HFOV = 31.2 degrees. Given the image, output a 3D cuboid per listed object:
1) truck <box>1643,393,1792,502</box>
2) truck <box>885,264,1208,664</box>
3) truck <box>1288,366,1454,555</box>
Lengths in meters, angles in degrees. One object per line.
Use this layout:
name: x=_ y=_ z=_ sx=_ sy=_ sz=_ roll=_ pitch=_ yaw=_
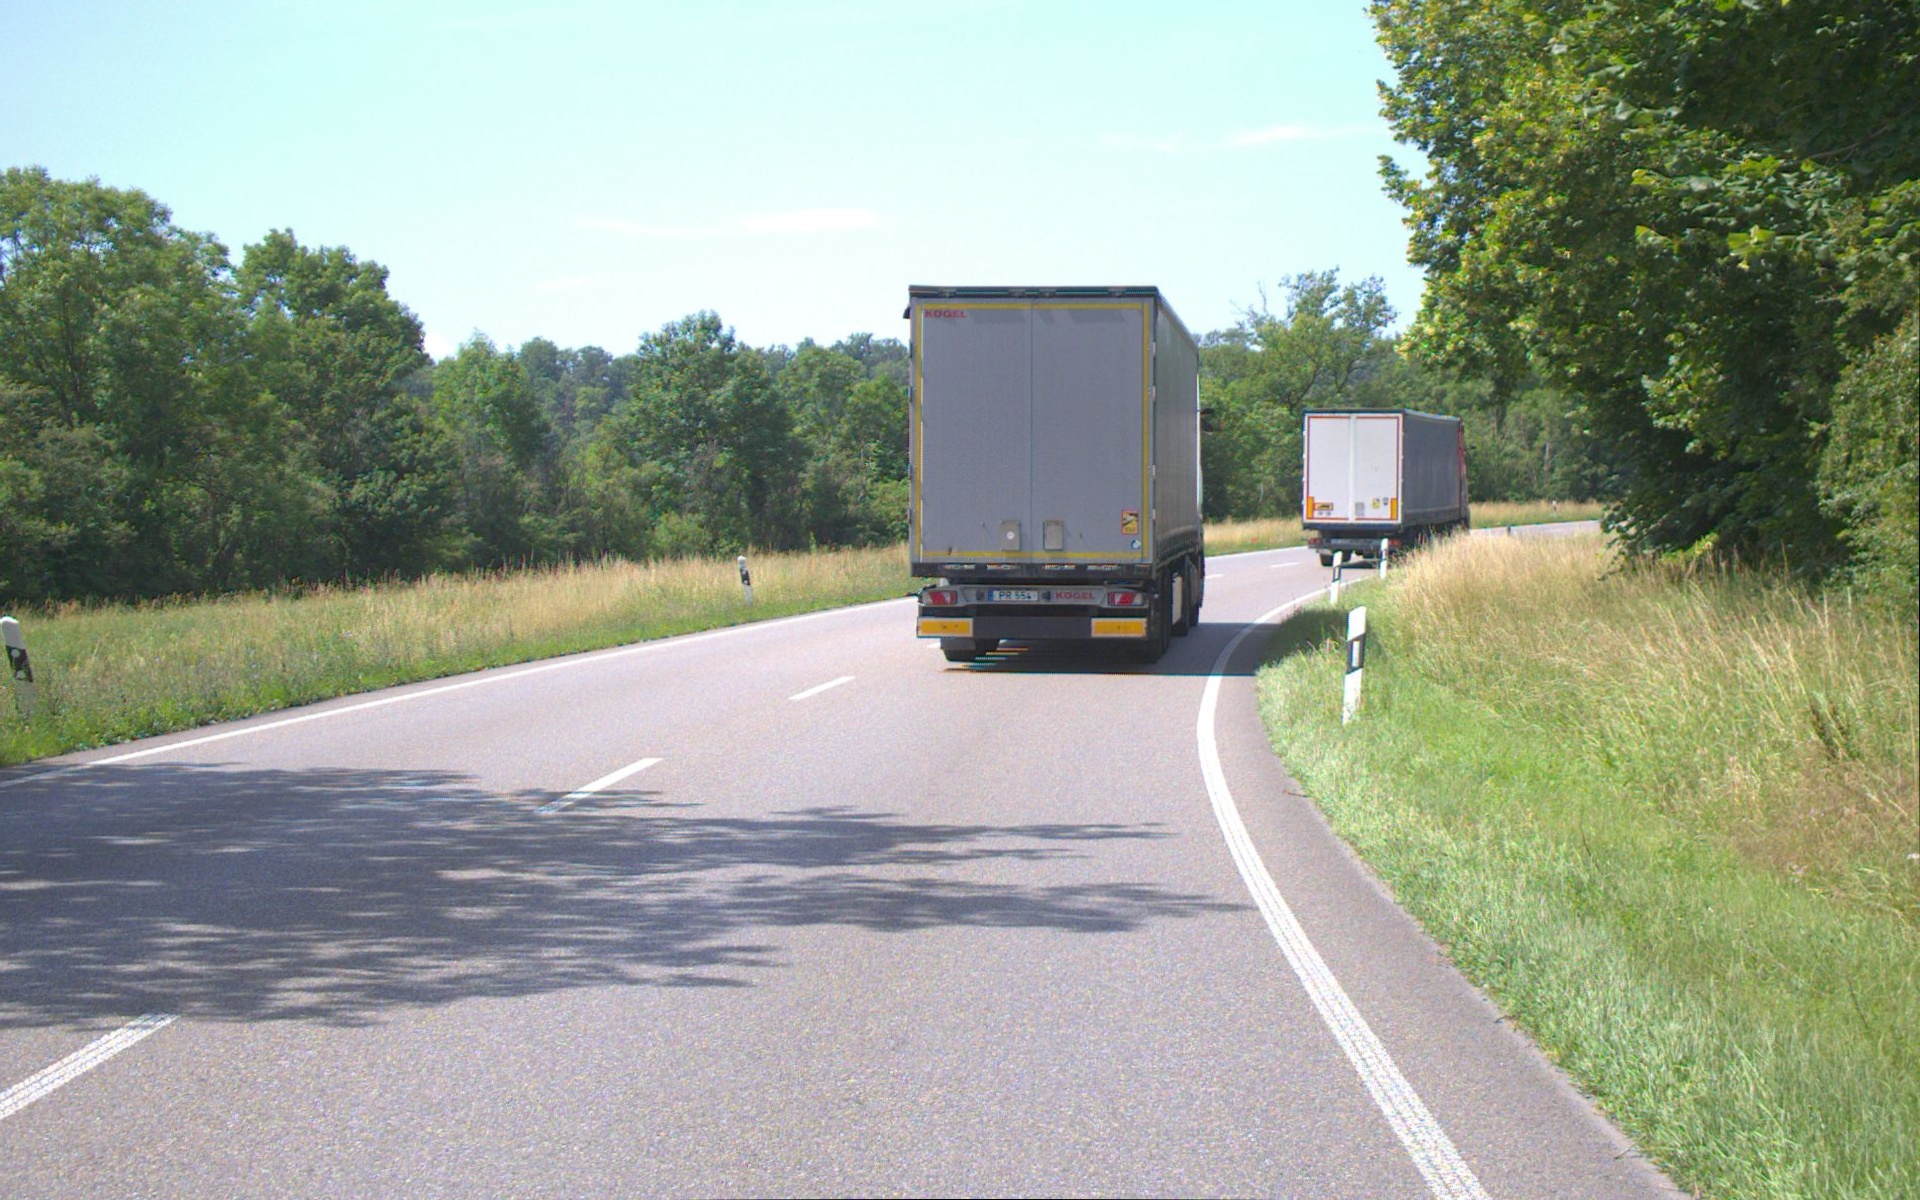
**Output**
truck: x=34.725 y=-6.823 z=156.888 sx=3.109 sy=4.689 sz=16.567 roll=0 pitch=1 yaw=25
truck: x=1.422 y=-1.565 z=42.612 sx=2.802 sy=4.054 sz=15.323 roll=0 pitch=1 yaw=6
truck: x=11.461 y=-3.700 z=94.279 sx=3.106 sy=4.689 sz=16.581 roll=0 pitch=1 yaw=12
